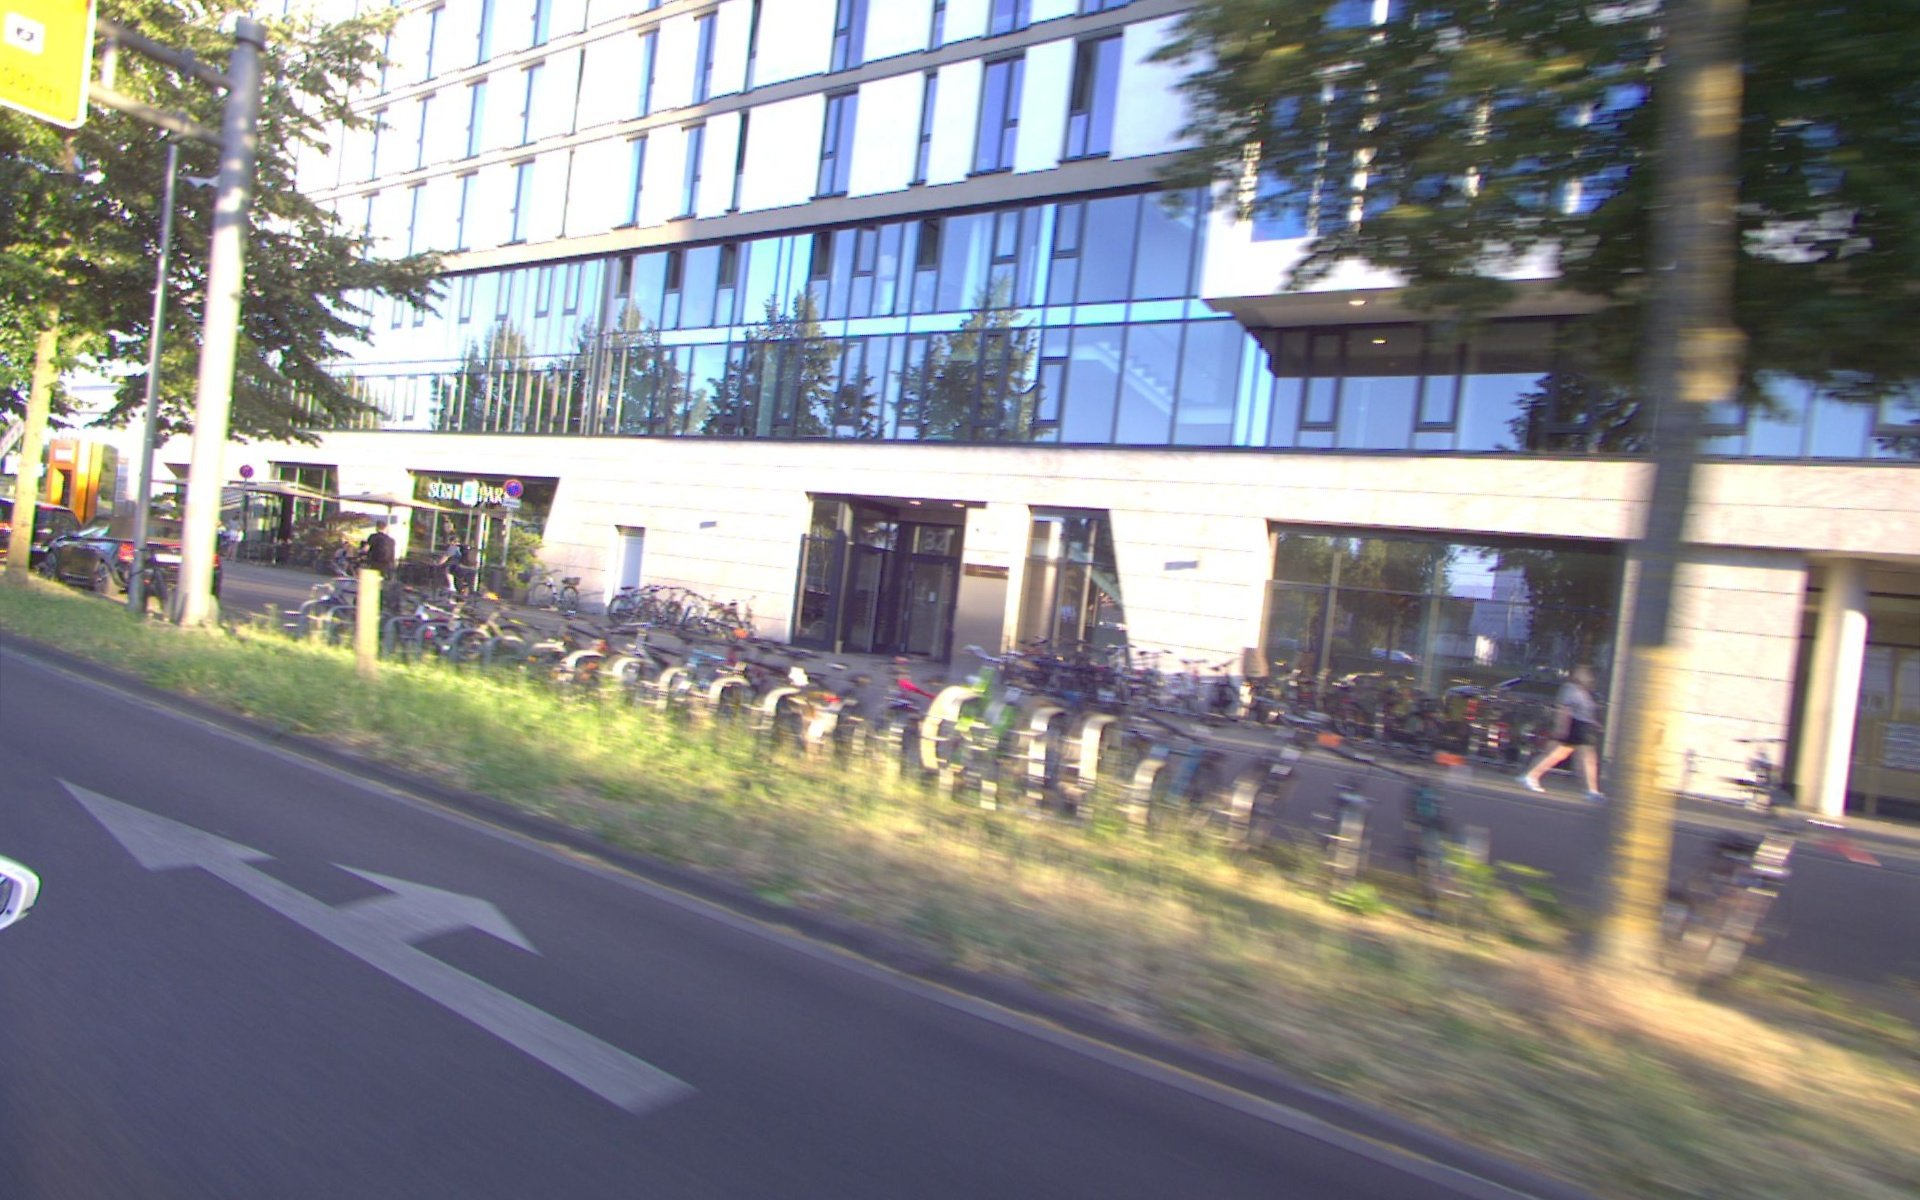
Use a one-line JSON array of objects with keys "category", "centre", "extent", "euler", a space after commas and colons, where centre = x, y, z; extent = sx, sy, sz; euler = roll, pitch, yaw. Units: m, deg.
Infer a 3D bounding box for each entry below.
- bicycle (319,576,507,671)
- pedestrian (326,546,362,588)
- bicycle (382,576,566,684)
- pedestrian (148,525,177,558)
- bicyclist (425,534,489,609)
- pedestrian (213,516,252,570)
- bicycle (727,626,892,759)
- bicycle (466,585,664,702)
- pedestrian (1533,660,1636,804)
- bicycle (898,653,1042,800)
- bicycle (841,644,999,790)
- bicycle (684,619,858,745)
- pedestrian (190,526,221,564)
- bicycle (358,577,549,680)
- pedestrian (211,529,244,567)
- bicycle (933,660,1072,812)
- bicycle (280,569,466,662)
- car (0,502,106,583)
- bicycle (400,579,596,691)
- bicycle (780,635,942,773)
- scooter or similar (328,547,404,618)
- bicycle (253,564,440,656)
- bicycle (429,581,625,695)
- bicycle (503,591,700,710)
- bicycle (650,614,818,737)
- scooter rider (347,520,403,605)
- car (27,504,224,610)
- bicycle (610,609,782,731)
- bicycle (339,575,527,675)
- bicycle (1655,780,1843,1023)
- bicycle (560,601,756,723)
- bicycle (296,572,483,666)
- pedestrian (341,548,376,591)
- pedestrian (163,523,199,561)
[{"category": "bicycle", "centre": [-6.883, 0.337, 12.814], "extent": [0.435, 0.949, 2.151], "euler": [7, -4, 25]}, {"category": "pedestrian", "centre": [-19.416, -1.045, 31.713], "extent": [0.793, 1.210, 0.572], "euler": [7, 0, 32]}, {"category": "bicycle", "centre": [-5.752, 0.406, 12.078], "extent": [0.295, 1.065, 2.151], "euler": [7, -4, 25]}, {"category": "pedestrian", "centre": [-31.168, -2.281, 39.302], "extent": [0.847, 1.201, 0.572], "euler": [7, 0, 33]}, {"category": "bicyclist", "centre": [-11.663, -0.658, 23.327], "extent": [0.975, 1.586, 0.773], "euler": [7, 1, 30]}, {"category": "pedestrian", "centre": [-25.459, -1.979, 35.212], "extent": [0.676, 1.759, 0.705], "euler": [6, 0, 2]}, {"category": "bicycle", "centre": [-1.341, 0.896, 9.404], "extent": [0.407, 1.065, 1.950], "euler": [7, -4, 24]}, {"category": "bicycle", "centre": [-4.358, 0.535, 11.310], "extent": [0.561, 1.065, 2.151], "euler": [7, -4, 25]}, {"category": "pedestrian", "centre": [8.020, 1.671, 12.948], "extent": [0.937, 1.669, 0.643], "euler": [7, 1, 31]}, {"category": "bicycle", "centre": [0.143, 1.073, 8.502], "extent": [0.341, 1.065, 1.950], "euler": [7, -4, 24]}, {"category": "bicycle", "centre": [-0.279, 1.017, 8.670], "extent": [0.407, 1.065, 1.950], "euler": [7, -4, 24]}, {"category": "bicycle", "centre": [-1.770, 0.846, 9.784], "extent": [0.397, 1.065, 1.949], "euler": [7, -4, 29]}, {"category": "pedestrian", "centre": [-28.108, -2.032, 37.490], "extent": [0.726, 1.298, 0.580], "euler": [7, 0, 28]}, {"category": "bicycle", "centre": [-6.099, 0.389, 12.280], "extent": [0.435, 0.997, 2.151], "euler": [7, -4, 25]}, {"category": "pedestrian", "centre": [-27.752, -1.961, 38.126], "extent": [0.725, 1.298, 0.581], "euler": [7, 0, 14]}, {"category": "bicycle", "centre": [0.404, 1.105, 8.230], "extent": [0.309, 1.065, 1.950], "euler": [7, -4, 24]}, {"category": "bicycle", "centre": [-7.671, 0.239, 13.290], "extent": [0.435, 0.949, 2.151], "euler": [7, -4, 25]}, {"category": "car", "centre": [-20.831, -1.380, 22.097], "extent": [4.216, 1.490, 1.780], "euler": [6, 0, 30]}, {"category": "bicycle", "centre": [-5.362, 0.463, 11.857], "extent": [0.515, 1.065, 2.151], "euler": [7, -4, 25]}, {"category": "bicycle", "centre": [-0.827, 0.961, 9.087], "extent": [0.407, 1.065, 1.950], "euler": [7, -4, 24]}, {"category": "scooter or similar", "centre": [-12.492, -0.373, 21.152], "extent": [1.636, 1.327, 0.526], "euler": [7, 0, 30]}, {"category": "bicycle", "centre": [-8.161, 0.177, 13.519], "extent": [0.435, 0.949, 2.151], "euler": [7, -4, 25]}, {"category": "bicycle", "centre": [-4.889, 0.487, 11.566], "extent": [0.515, 1.065, 2.151], "euler": [7, -4, 25]}, {"category": "bicycle", "centre": [-3.827, 0.602, 10.977], "extent": [0.552, 1.065, 2.151], "euler": [7, -4, 25]}, {"category": "bicycle", "centre": [-2.179, 0.796, 10.002], "extent": [0.397, 1.065, 1.950], "euler": [7, -4, 25]}, {"category": "scooter rider", "centre": [-12.228, -0.784, 21.030], "extent": [0.818, 1.659, 0.526], "euler": [7, 1, 30]}, {"category": "car", "centre": [-15.164, -0.792, 18.235], "extent": [3.818, 1.490, 1.577], "euler": [6, 0, 33]}, {"category": "bicycle", "centre": [-2.602, 0.753, 10.178], "extent": [0.397, 1.065, 1.950], "euler": [7, -4, 25]}, {"category": "bicycle", "centre": [-6.499, 0.352, 12.566], "extent": [0.435, 0.983, 2.151], "euler": [7, -4, 25]}, {"category": "bicycle", "centre": [4.582, 1.664, 5.956], "extent": [0.536, 1.065, 1.948], "euler": [7, -4, 31]}, {"category": "bicycle", "centre": [-3.084, 0.698, 10.555], "extent": [0.561, 1.065, 2.151], "euler": [7, -4, 25]}, {"category": "bicycle", "centre": [-7.305, 0.286, 13.028], "extent": [0.444, 0.949, 2.151], "euler": [7, -4, 25]}, {"category": "pedestrian", "centre": [-18.653, -0.950, 31.194], "extent": [0.794, 1.210, 0.572], "euler": [7, 0, 34]}, {"category": "pedestrian", "centre": [-28.739, -2.135, 37.116], "extent": [0.703, 1.298, 0.628], "euler": [7, 0, 10]}]
